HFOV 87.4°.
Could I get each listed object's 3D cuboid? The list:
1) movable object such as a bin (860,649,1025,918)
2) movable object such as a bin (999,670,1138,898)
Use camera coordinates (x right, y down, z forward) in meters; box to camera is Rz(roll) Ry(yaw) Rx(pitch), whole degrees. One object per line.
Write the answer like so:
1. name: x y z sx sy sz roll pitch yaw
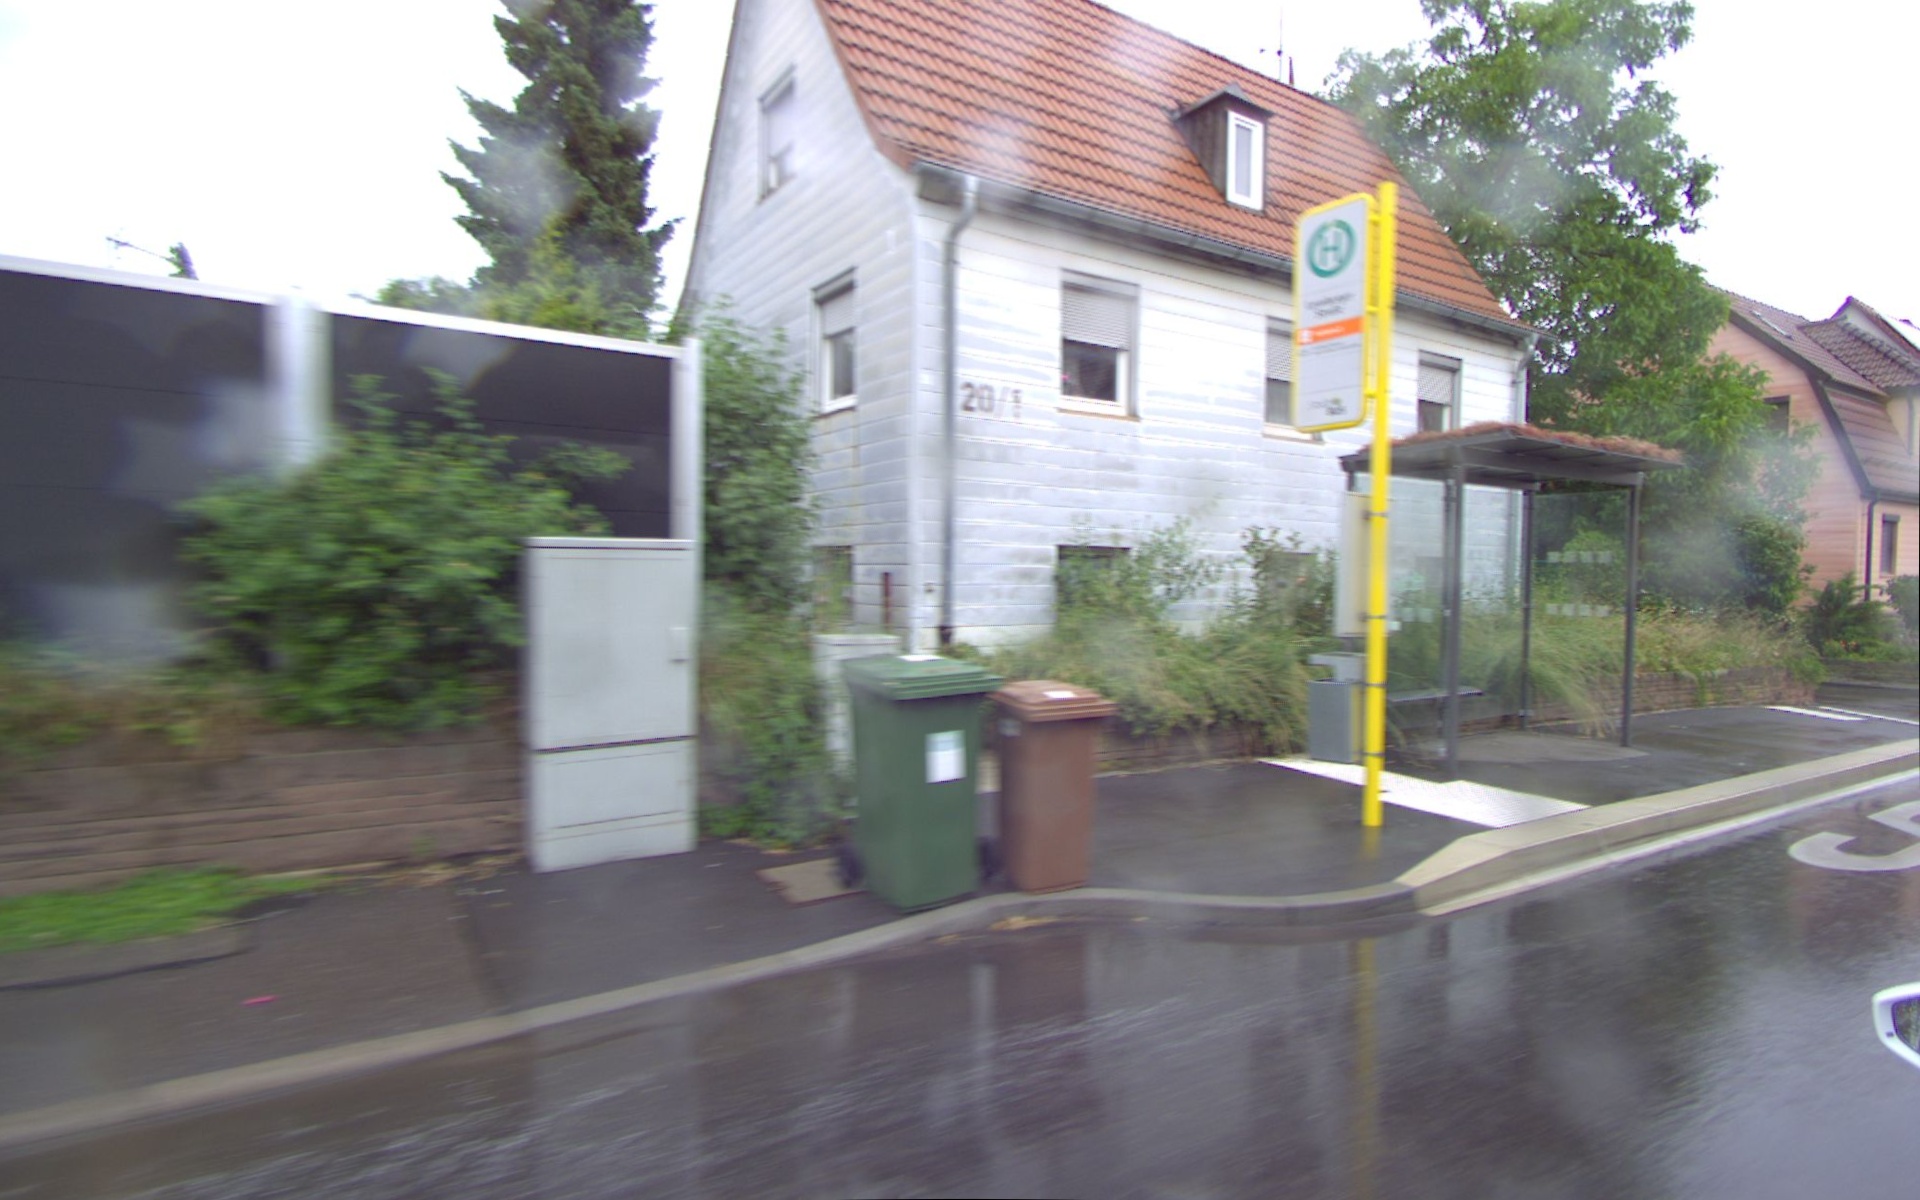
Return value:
1. movable object such as a bin: -0.092 0.809 4.673 0.521 1.097 0.550 1 4 -31
2. movable object such as a bin: 0.513 0.852 4.826 0.449 0.952 0.466 -1 5 -31
